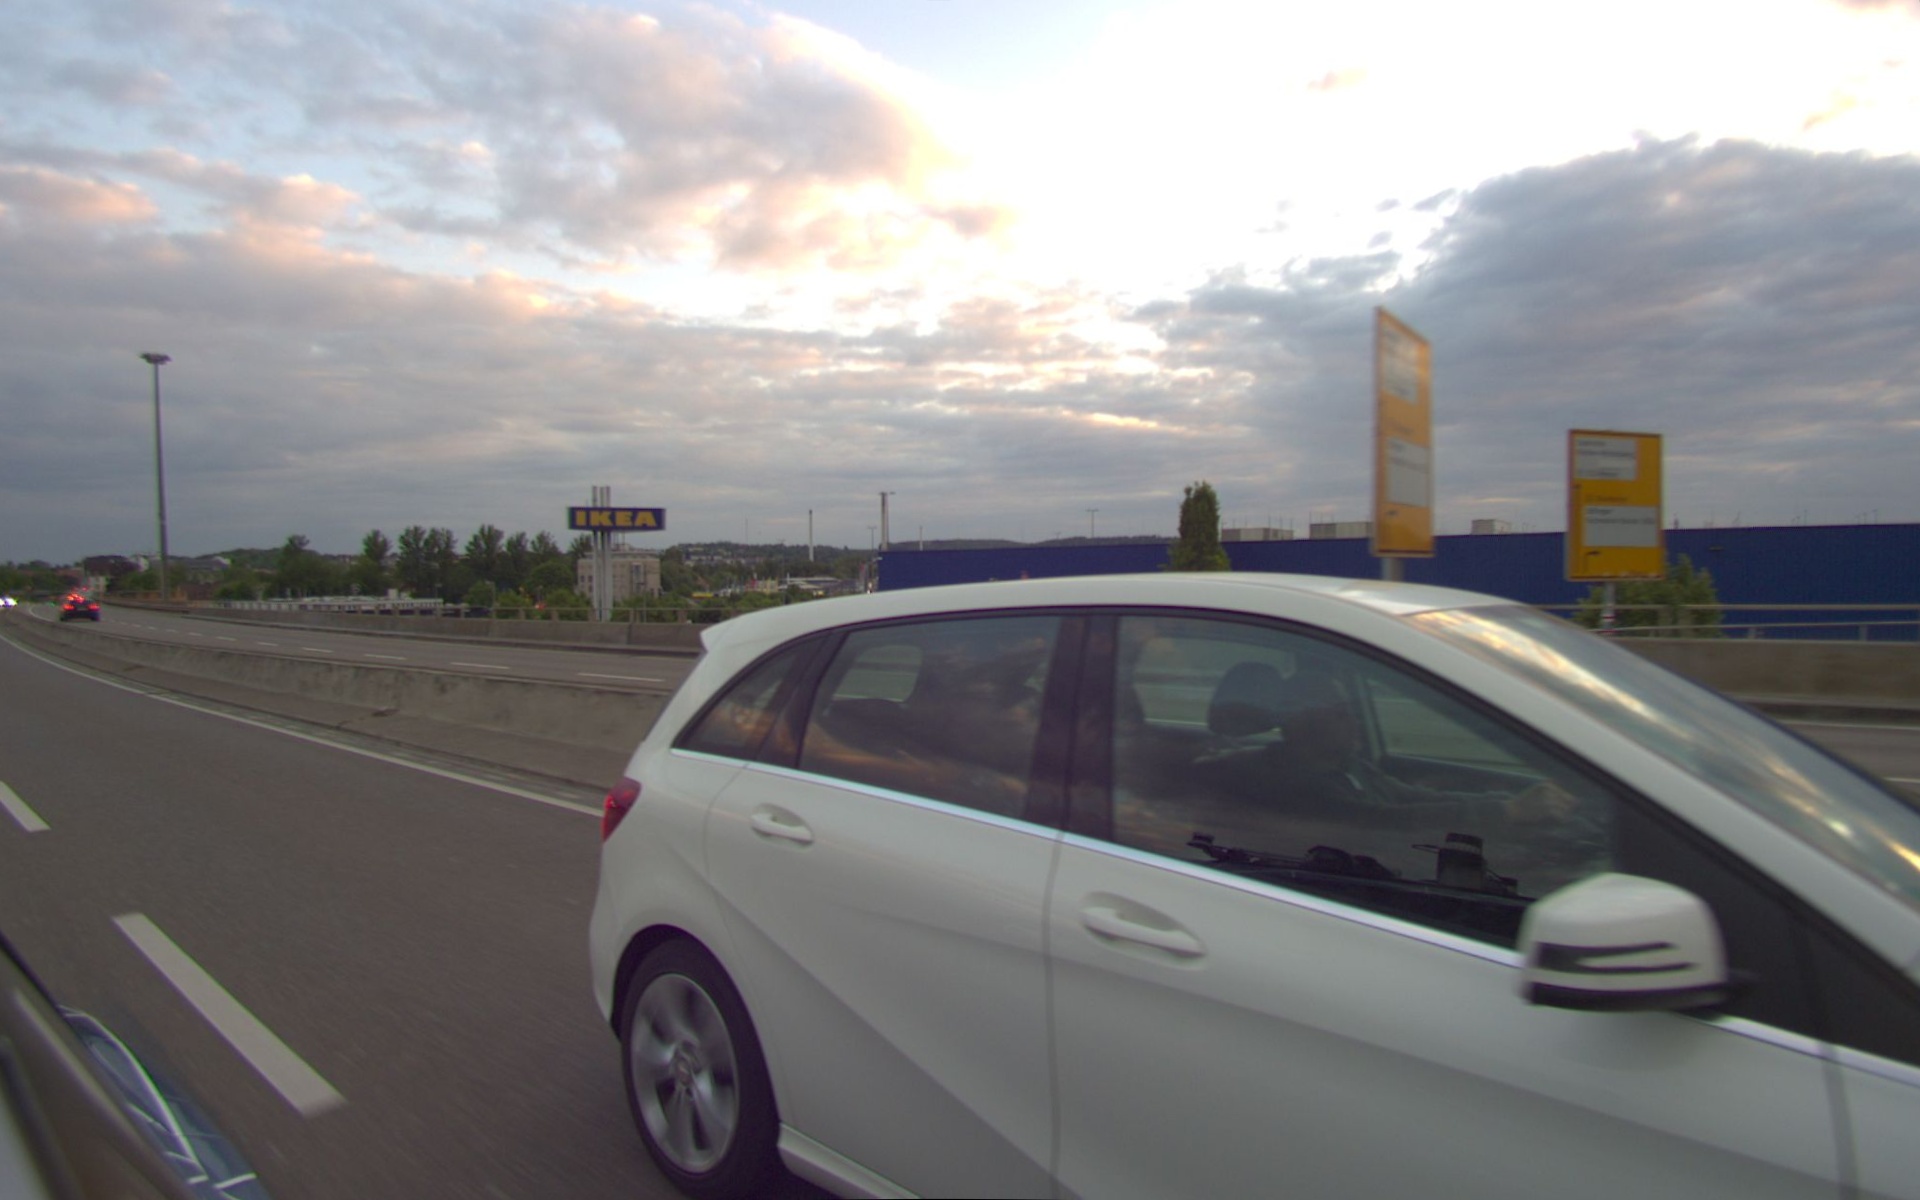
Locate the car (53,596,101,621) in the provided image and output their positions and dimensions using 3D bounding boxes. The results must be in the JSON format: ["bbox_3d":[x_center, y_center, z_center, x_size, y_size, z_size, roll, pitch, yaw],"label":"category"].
[{"bbox_3d":[-54.651,0.507,62.625,4.288,1.491,1.809,0,1,43],"label":"car"}]

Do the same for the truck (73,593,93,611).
[{"bbox_3d":[-163.023,0.296,188.170,2.502,3.321,7.462,-1,1,-38],"label":"truck"}]

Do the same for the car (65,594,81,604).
[{"bbox_3d":[-147.996,-0.124,168.856,1.952,1.618,4.448,-1,1,-41],"label":"car"}]

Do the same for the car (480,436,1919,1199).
[{"bbox_3d":[0.923,0.615,2.126,4.780,1.548,1.673,-1,0,40],"label":"car"}]

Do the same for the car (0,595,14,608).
[{"bbox_3d":[-149.957,0.284,158.718,1.969,2.029,4.006,-2,1,-41],"label":"car"}]
